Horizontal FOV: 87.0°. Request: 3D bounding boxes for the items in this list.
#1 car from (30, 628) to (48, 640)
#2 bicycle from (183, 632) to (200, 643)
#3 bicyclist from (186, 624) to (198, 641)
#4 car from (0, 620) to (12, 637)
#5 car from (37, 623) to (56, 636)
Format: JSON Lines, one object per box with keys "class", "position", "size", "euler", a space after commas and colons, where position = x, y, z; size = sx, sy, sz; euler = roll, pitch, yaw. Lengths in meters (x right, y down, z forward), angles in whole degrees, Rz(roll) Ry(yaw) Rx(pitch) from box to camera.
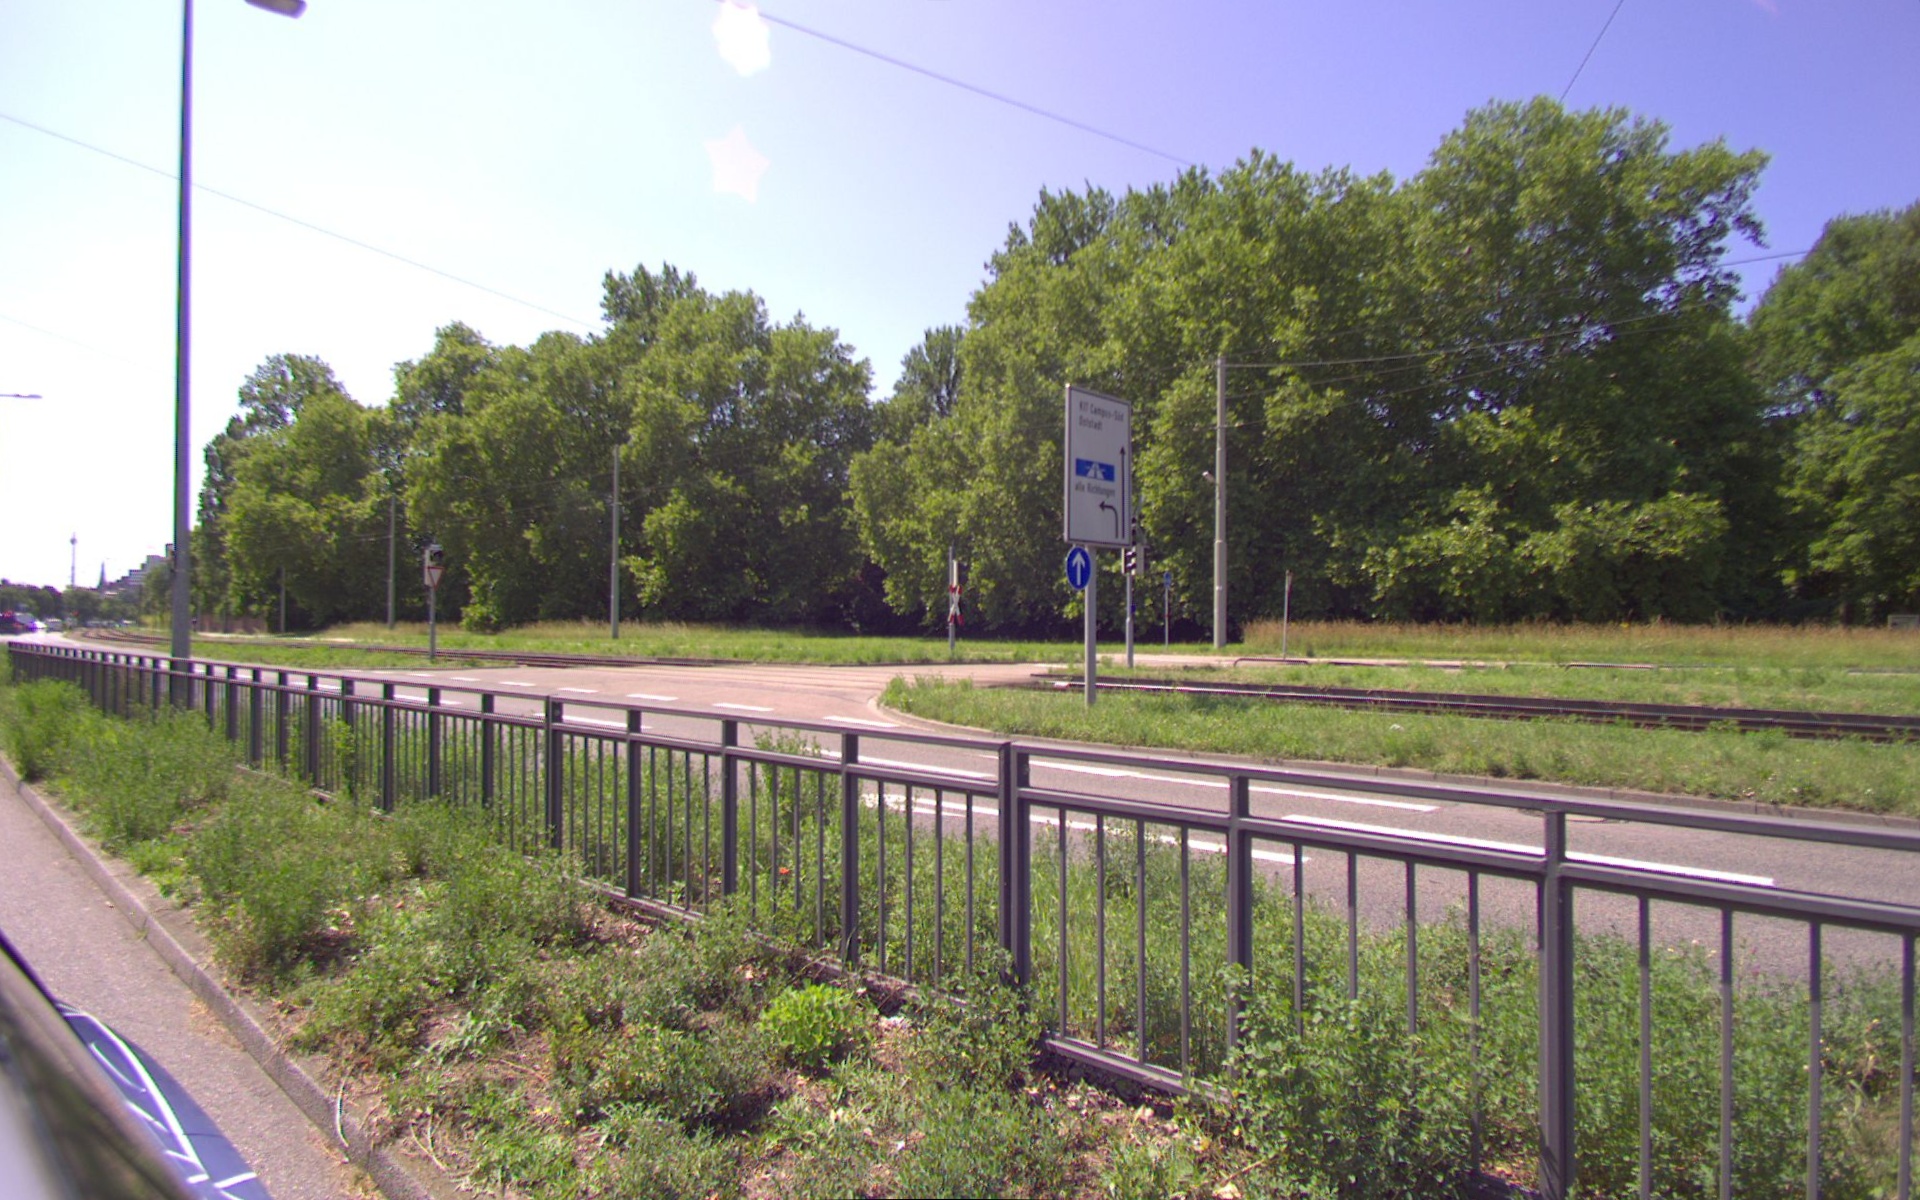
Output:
{"class": "car", "position": [-141.787, 5.243, 155.799], "size": [1.970, 1.871, 4.003], "euler": [1, -2, -44]}
{"class": "bicycle", "position": [-82.585, 4.011, 108.737], "size": [2.785, 1.171, 0.851], "euler": [-1, -2, 41]}
{"class": "bicyclist", "position": [-82.524, 3.449, 108.725], "size": [1.117, 1.820, 0.851], "euler": [-1, -2, 41]}
{"class": "car", "position": [-107.609, 3.195, 113.352], "size": [1.970, 1.871, 4.004], "euler": [1, -2, -43]}
{"class": "car", "position": [-136.816, 4.401, 151.547], "size": [1.970, 1.871, 4.003], "euler": [1, -2, -44]}
